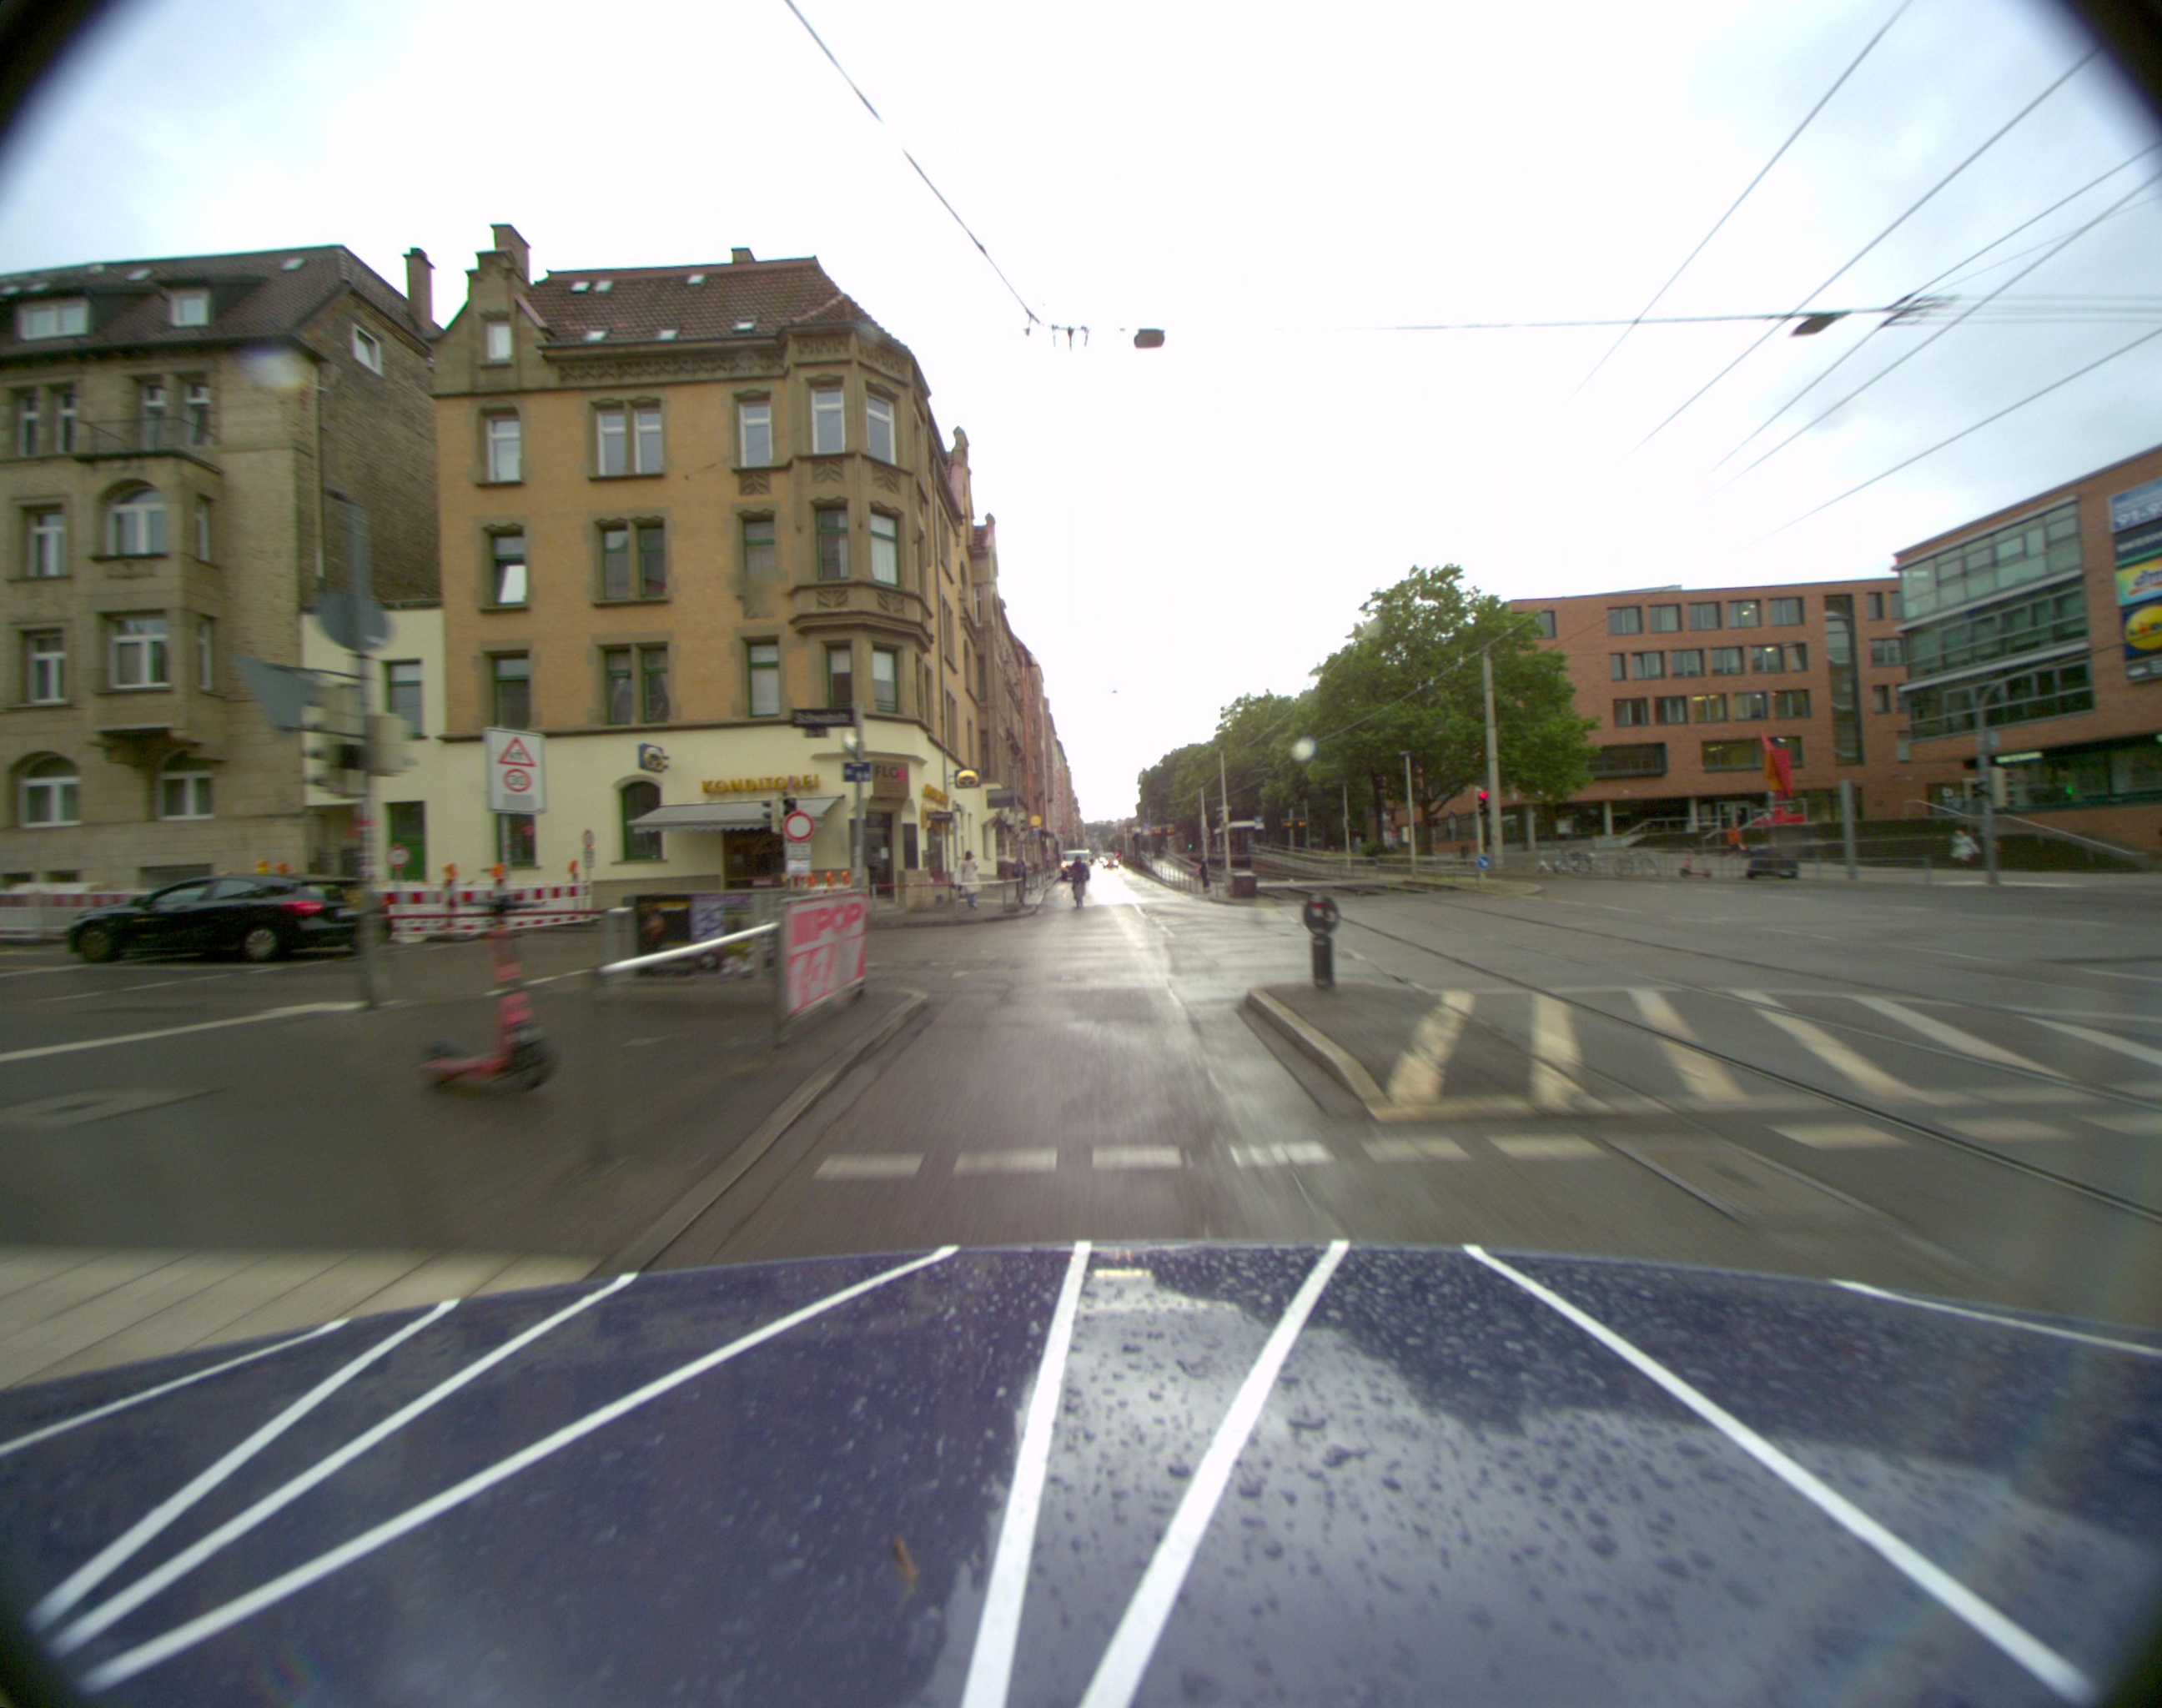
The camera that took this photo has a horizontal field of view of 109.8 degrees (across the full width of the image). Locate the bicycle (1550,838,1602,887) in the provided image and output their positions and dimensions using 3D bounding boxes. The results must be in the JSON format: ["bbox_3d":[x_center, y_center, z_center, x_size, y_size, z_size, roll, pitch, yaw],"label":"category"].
[{"bbox_3d":[21.606,0.368,33.163,1.896,2.002,0.518,-3,0,-5],"label":"bicycle"}]

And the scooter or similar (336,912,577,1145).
[{"bbox_3d":[-3.923,1.018,4.785,1.248,1.243,0.639,-1,0,23],"label":"scooter or similar"}]

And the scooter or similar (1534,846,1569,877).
[{"bbox_3d":[21.819,0.342,35.234,1.507,1.363,0.452,-2,0,-16],"label":"scooter or similar"}]

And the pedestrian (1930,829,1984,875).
[{"bbox_3d":[33.982,-0.081,29.484,0.898,1.720,1.009,-2,0,1],"label":"pedestrian"}]

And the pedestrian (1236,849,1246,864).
[{"bbox_3d":[15.686,0.219,74.550,0.781,1.474,0.884,-2,0,-3],"label":"pedestrian"}]

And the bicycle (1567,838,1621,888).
[{"bbox_3d":[21.720,0.360,32.170,1.896,2.002,0.518,-3,0,-5],"label":"bicycle"}]

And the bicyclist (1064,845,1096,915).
[{"bbox_3d":[-0.013,0.847,25.342,0.920,2.250,1.288,-2,0,3],"label":"bicyclist"}]

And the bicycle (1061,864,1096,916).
[{"bbox_3d":[-0.041,1.137,25.119,0.936,1.545,3.135,-2,0,3],"label":"bicycle"}]

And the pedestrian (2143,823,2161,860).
[{"bbox_3d":[45.091,-0.528,31.759,0.520,1.557,0.592,-3,0,-1],"label":"pedestrian"}]

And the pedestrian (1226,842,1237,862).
[{"bbox_3d":[15.710,-0.196,79.429,0.837,2.050,0.884,-2,0,-3],"label":"pedestrian"}]

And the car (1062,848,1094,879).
[{"bbox_3d":[-0.122,0.628,53.045,1.825,1.893,5.992,-3,0,3],"label":"car"}]

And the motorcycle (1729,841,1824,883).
[{"bbox_3d":[24.050,0.268,26.286,2.658,1.363,0.866,-2,0,-5],"label":"motorcycle"}]

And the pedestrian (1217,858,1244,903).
[{"bbox_3d":[6.056,1.052,30.734,0.827,1.788,1.001,-2,0,-1],"label":"pedestrian"}]

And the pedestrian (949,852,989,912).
[{"bbox_3d":[-3.307,0.814,22.475,0.996,1.694,0.781,-3,0,1],"label":"pedestrian"}]

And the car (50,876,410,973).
[{"bbox_3d":[-14.131,1.129,12.804,3.997,1.367,1.800,-1,0,0],"label":"car"}]

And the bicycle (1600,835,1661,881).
[{"bbox_3d":[21.827,0.166,30.192,2.096,1.688,0.556,-4,2,-5],"label":"bicycle"}]

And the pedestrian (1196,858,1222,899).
[{"bbox_3d":[5.193,0.982,30.903,0.837,1.595,1.001,-2,0,-1],"label":"pedestrian"}]

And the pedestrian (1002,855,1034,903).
[{"bbox_3d":[-2.297,0.893,27.632,1.019,1.710,0.930,1,0,2],"label":"pedestrian"}]

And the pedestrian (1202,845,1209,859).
[{"bbox_3d":[15.544,-0.227,94.860,0.676,1.780,0.703,-1,0,1],"label":"pedestrian"}]

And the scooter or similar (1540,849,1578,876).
[{"bbox_3d":[21.751,0.391,34.556,1.720,1.187,0.478,-2,0,-20],"label":"scooter or similar"}]

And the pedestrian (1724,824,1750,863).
[{"bbox_3d":[30.750,-0.478,35.635,0.791,1.735,1.071,-2,4,35],"label":"pedestrian"}]

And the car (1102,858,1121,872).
[{"bbox_3d":[3.336,1.194,82.662,1.884,1.438,4.000,-2,0,0],"label":"car"}]

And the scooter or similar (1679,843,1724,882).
[{"bbox_3d":[22.951,0.306,28.104,1.507,1.363,0.452,-2,0,-16],"label":"scooter or similar"}]
